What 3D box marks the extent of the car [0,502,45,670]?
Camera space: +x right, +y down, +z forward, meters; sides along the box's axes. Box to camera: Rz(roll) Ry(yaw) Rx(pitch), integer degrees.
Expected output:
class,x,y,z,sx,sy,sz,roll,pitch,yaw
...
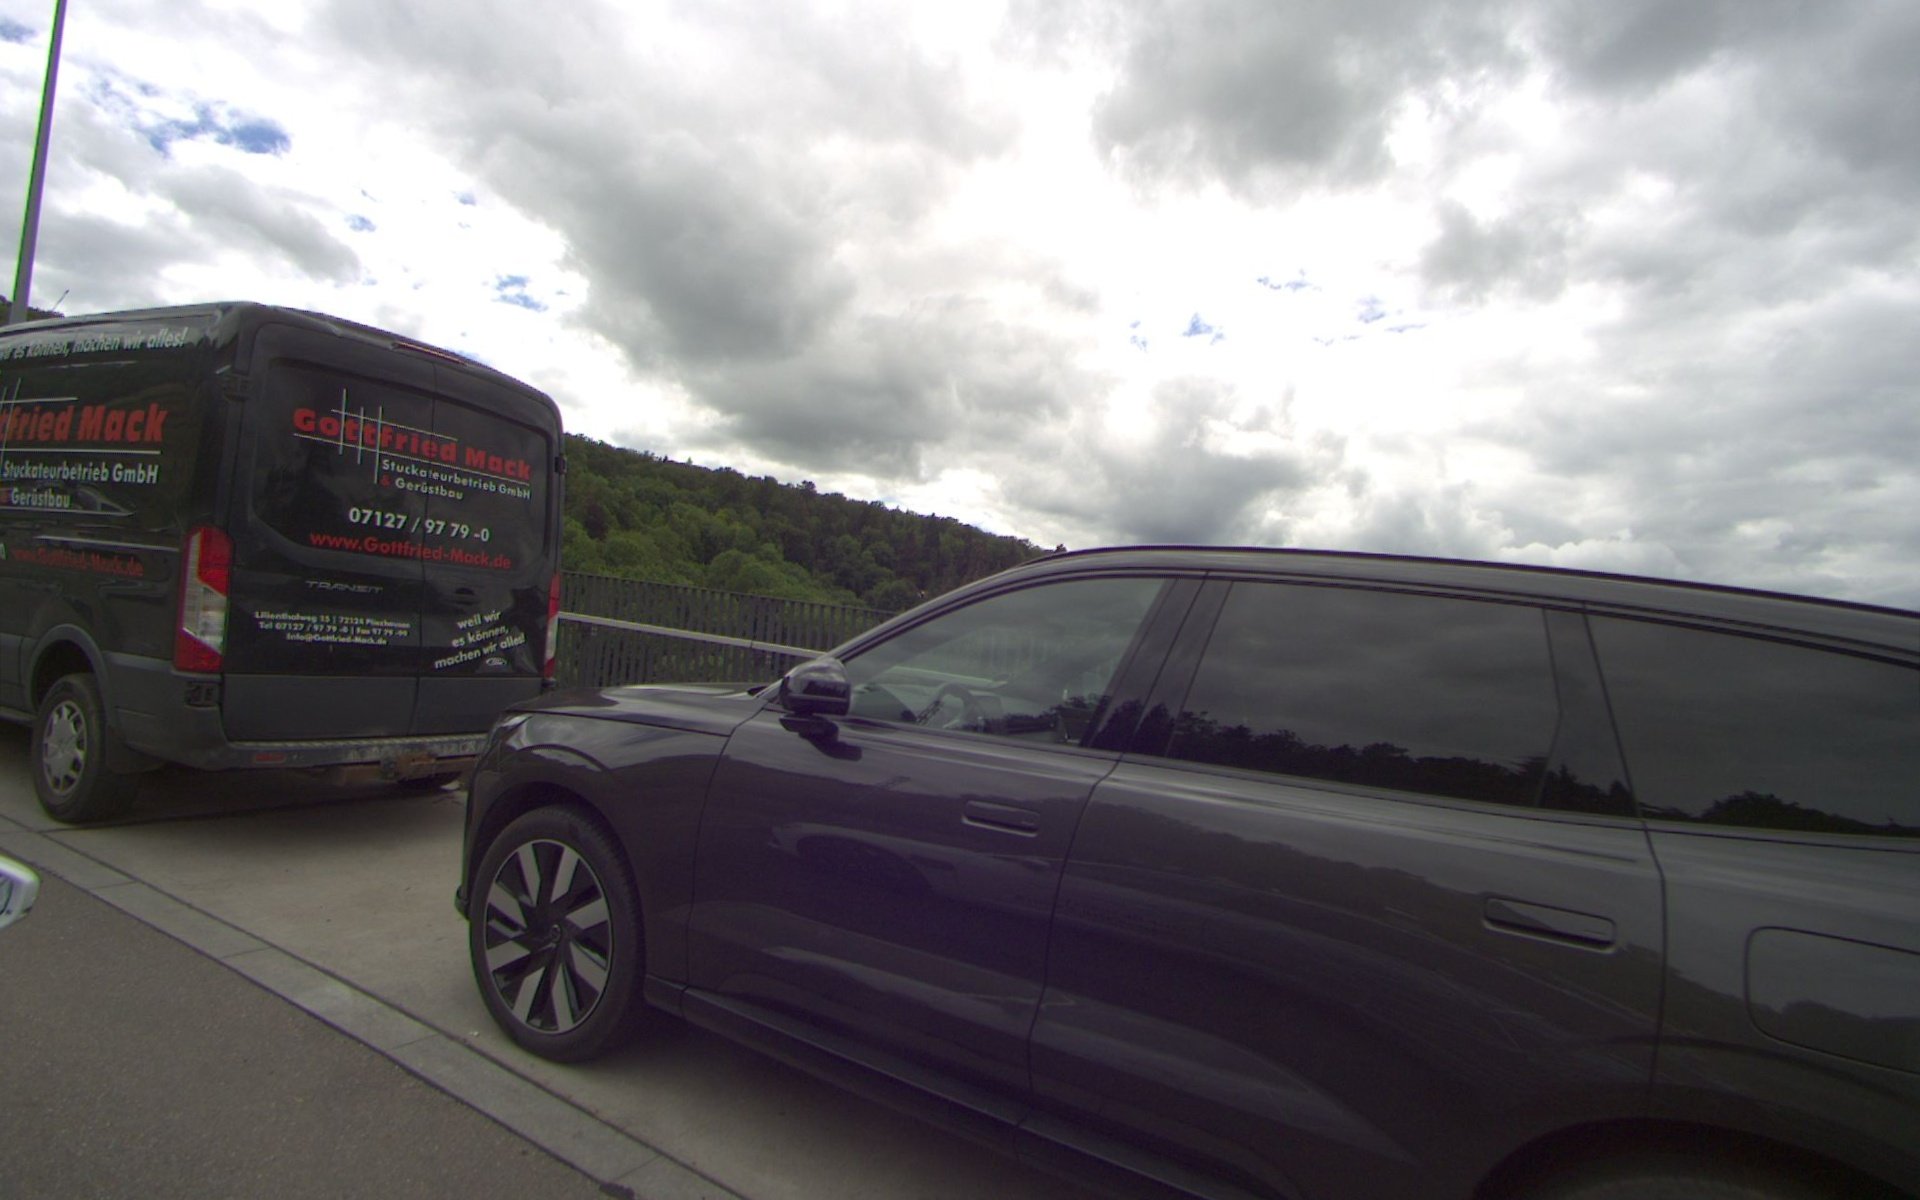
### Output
class,x,y,z,sx,sy,sz,roll,pitch,yaw
car,-10.257,-0.370,8.777,3.778,1.448,1.720,7,-1,20

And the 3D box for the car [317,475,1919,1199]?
class,x,y,z,sx,sy,sz,roll,pitch,yaw
car,0.402,0.694,3.191,4.964,1.739,1.996,6,0,31

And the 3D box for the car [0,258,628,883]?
class,x,y,z,sx,sy,sz,roll,pitch,yaw
car,-5.091,-0.358,6.376,5.670,2.554,2.170,7,2,28
